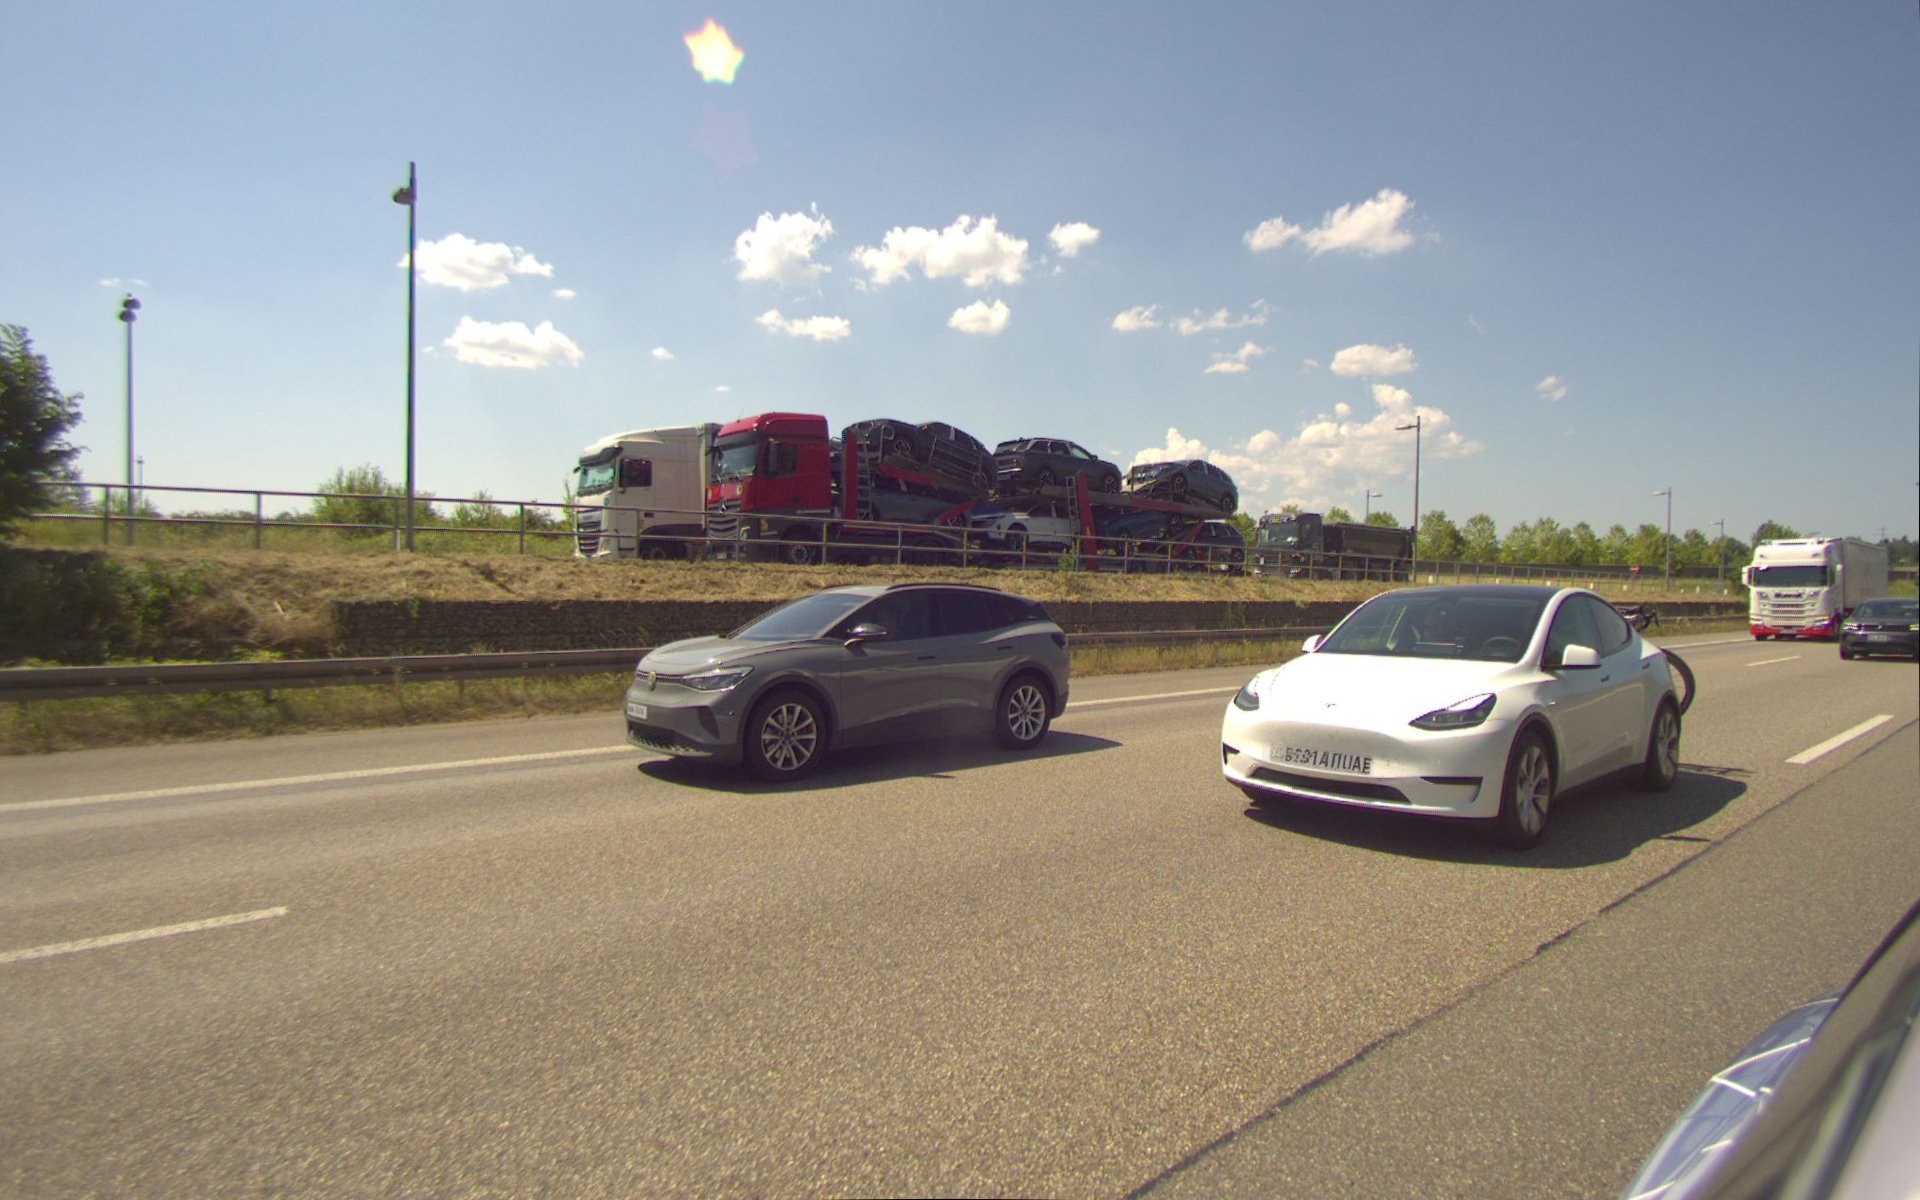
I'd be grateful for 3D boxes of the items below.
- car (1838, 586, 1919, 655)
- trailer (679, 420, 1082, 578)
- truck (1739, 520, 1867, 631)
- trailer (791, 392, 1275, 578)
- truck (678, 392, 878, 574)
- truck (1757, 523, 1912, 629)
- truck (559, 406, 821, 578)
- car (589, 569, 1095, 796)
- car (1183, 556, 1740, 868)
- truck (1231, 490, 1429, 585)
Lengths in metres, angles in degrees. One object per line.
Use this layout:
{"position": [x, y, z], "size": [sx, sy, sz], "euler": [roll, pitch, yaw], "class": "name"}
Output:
{"position": [24.619, 0.483, 26.357], "size": [3.974, 1.667, 1.955], "euler": [-1, 0, -39], "class": "car"}
{"position": [-1.880, -2.803, 32.753], "size": [14.012, 4.135, 3.057], "euler": [-1, 0, -42], "class": "trailer"}
{"position": [31.907, -0.890, 38.304], "size": [3.779, 3.957, 3.074], "euler": [0, 0, -40], "class": "truck"}
{"position": [3.396, -2.866, 30.763], "size": [18.099, 4.311, 2.610], "euler": [-1, 0, -41], "class": "trailer"}
{"position": [-4.311, -2.581, 24.124], "size": [3.930, 3.875, 2.607], "euler": [-1, 0, -41], "class": "truck"}
{"position": [37.210, -0.954, 42.804], "size": [12.283, 3.957, 3.074], "euler": [-1, 0, -40], "class": "truck"}
{"position": [-7.325, -2.707, 27.905], "size": [6.288, 4.135, 3.057], "euler": [-1, 0, -42], "class": "truck"}
{"position": [-0.923, 0.574, 9.569], "size": [4.506, 1.657, 1.871], "euler": [-1, 0, -41], "class": "car"}
{"position": [4.227, 0.564, 7.940], "size": [5.503, 1.657, 1.953], "euler": [-1, 0, -41], "class": "car"}
{"position": [18.587, -2.870, 50.176], "size": [12.302, 4.135, 3.794], "euler": [-1, 0, -41], "class": "truck"}
